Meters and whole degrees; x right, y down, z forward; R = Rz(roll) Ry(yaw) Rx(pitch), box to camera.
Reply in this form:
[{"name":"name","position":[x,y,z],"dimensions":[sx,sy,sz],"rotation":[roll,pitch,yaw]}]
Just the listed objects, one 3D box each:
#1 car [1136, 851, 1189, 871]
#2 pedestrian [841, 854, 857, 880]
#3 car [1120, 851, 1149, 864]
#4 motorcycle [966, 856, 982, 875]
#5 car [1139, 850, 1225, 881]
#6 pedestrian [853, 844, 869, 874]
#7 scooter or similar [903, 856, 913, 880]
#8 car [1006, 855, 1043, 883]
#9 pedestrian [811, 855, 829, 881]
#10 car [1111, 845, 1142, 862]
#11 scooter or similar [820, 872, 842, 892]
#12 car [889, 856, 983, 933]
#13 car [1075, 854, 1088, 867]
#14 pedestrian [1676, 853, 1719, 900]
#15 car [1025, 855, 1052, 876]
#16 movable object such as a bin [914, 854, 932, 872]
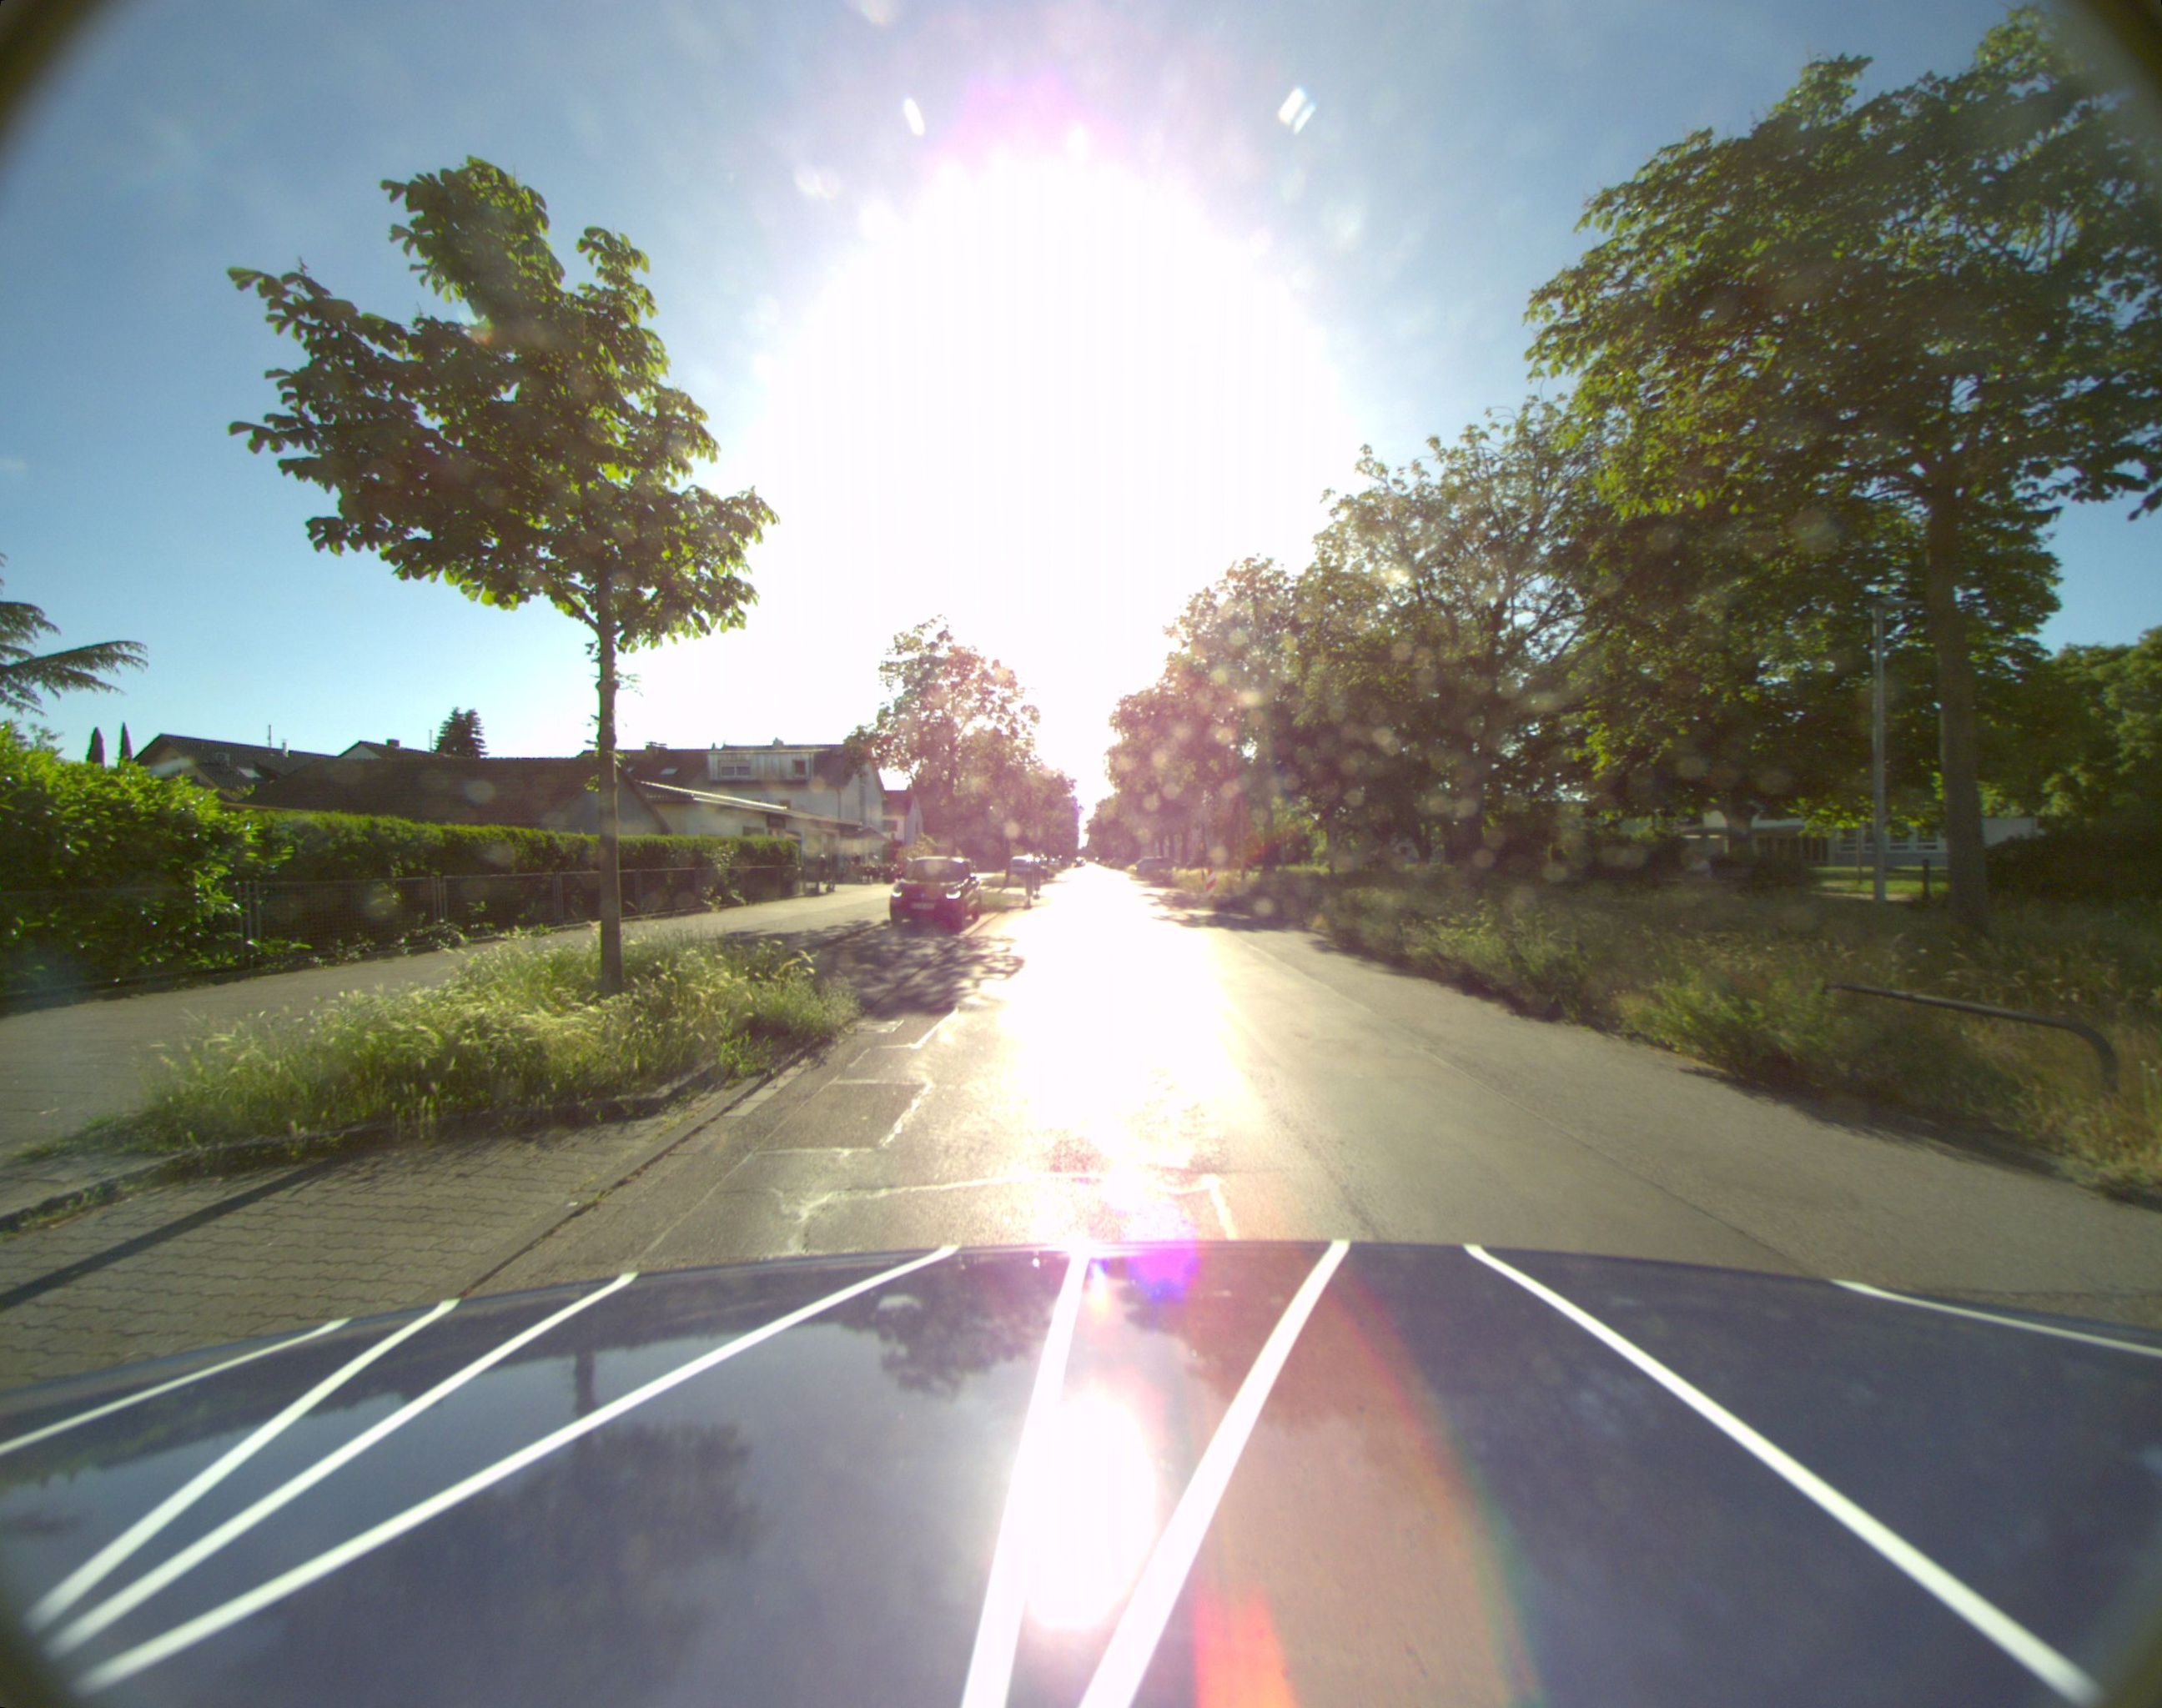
[{"name":"car","position":[6.729,0.564,62.958],"dimensions":[4.204,1.552,2.000],"rotation":[-2,1,1]},{"name":"pedestrian","position":[-12.010,0.653,39.352],"dimensions":[0.641,1.314,0.574],"rotation":[-1,1,0]},{"name":"car","position":[7.633,0.510,109.290],"dimensions":[3.997,1.740,1.890],"rotation":[-2,1,-1]},{"name":"motorcycle","position":[-7.618,0.819,54.274],"dimensions":[0.838,1.247,2.344],"rotation":[-2,1,-1]},{"name":"car","position":[5.644,0.612,42.958],"dimensions":[4.615,1.552,2.000],"rotation":[-2,1,1]},{"name":"pedestrian","position":[-13.570,0.302,46.830],"dimensions":[0.672,1.798,0.735],"rotation":[-2,1,0]},{"name":"scooter or similar","position":[-9.585,0.773,42.123],"dimensions":[0.503,1.288,0.461],"rotation":[0,1,-4]},{"name":"car","position":[-3.303,0.844,45.237],"dimensions":[1.732,1.568,3.858],"rotation":[0,0,3]},{"name":"pedestrian","position":[-13.518,0.737,39.354],"dimensions":[0.641,1.314,0.574],"rotation":[-3,1,0]},{"name":"car","position":[7.546,-0.157,125.838],"dimensions":[5.121,2.597,2.125],"rotation":[-2,1,3]},{"name":"scooter or similar","position":[-9.632,1.078,29.312],"dimensions":[0.450,0.712,1.228],"rotation":[3,1,-1]},{"name":"car","position":[-3.320,0.874,17.970],"dimensions":[1.497,1.565,3.600],"rotation":[2,0,0]},{"name":"car","position":[0.125,1.064,125.753],"dimensions":[1.998,2.002,3.999],"rotation":[-2,1,1]},{"name":"pedestrian","position":[15.969,0.584,19.679],"dimensions":[0.639,1.151,0.521],"rotation":[-4,1,-1]},{"name":"car","position":[-3.067,0.823,55.534],"dimensions":[1.733,1.473,3.857],"rotation":[0,0,0]},{"name":"movable object such as a bin","position":[-11.490,0.672,55.287],"dimensions":[1.172,1.286,0.928],"rotation":[0,1,-1]}]
